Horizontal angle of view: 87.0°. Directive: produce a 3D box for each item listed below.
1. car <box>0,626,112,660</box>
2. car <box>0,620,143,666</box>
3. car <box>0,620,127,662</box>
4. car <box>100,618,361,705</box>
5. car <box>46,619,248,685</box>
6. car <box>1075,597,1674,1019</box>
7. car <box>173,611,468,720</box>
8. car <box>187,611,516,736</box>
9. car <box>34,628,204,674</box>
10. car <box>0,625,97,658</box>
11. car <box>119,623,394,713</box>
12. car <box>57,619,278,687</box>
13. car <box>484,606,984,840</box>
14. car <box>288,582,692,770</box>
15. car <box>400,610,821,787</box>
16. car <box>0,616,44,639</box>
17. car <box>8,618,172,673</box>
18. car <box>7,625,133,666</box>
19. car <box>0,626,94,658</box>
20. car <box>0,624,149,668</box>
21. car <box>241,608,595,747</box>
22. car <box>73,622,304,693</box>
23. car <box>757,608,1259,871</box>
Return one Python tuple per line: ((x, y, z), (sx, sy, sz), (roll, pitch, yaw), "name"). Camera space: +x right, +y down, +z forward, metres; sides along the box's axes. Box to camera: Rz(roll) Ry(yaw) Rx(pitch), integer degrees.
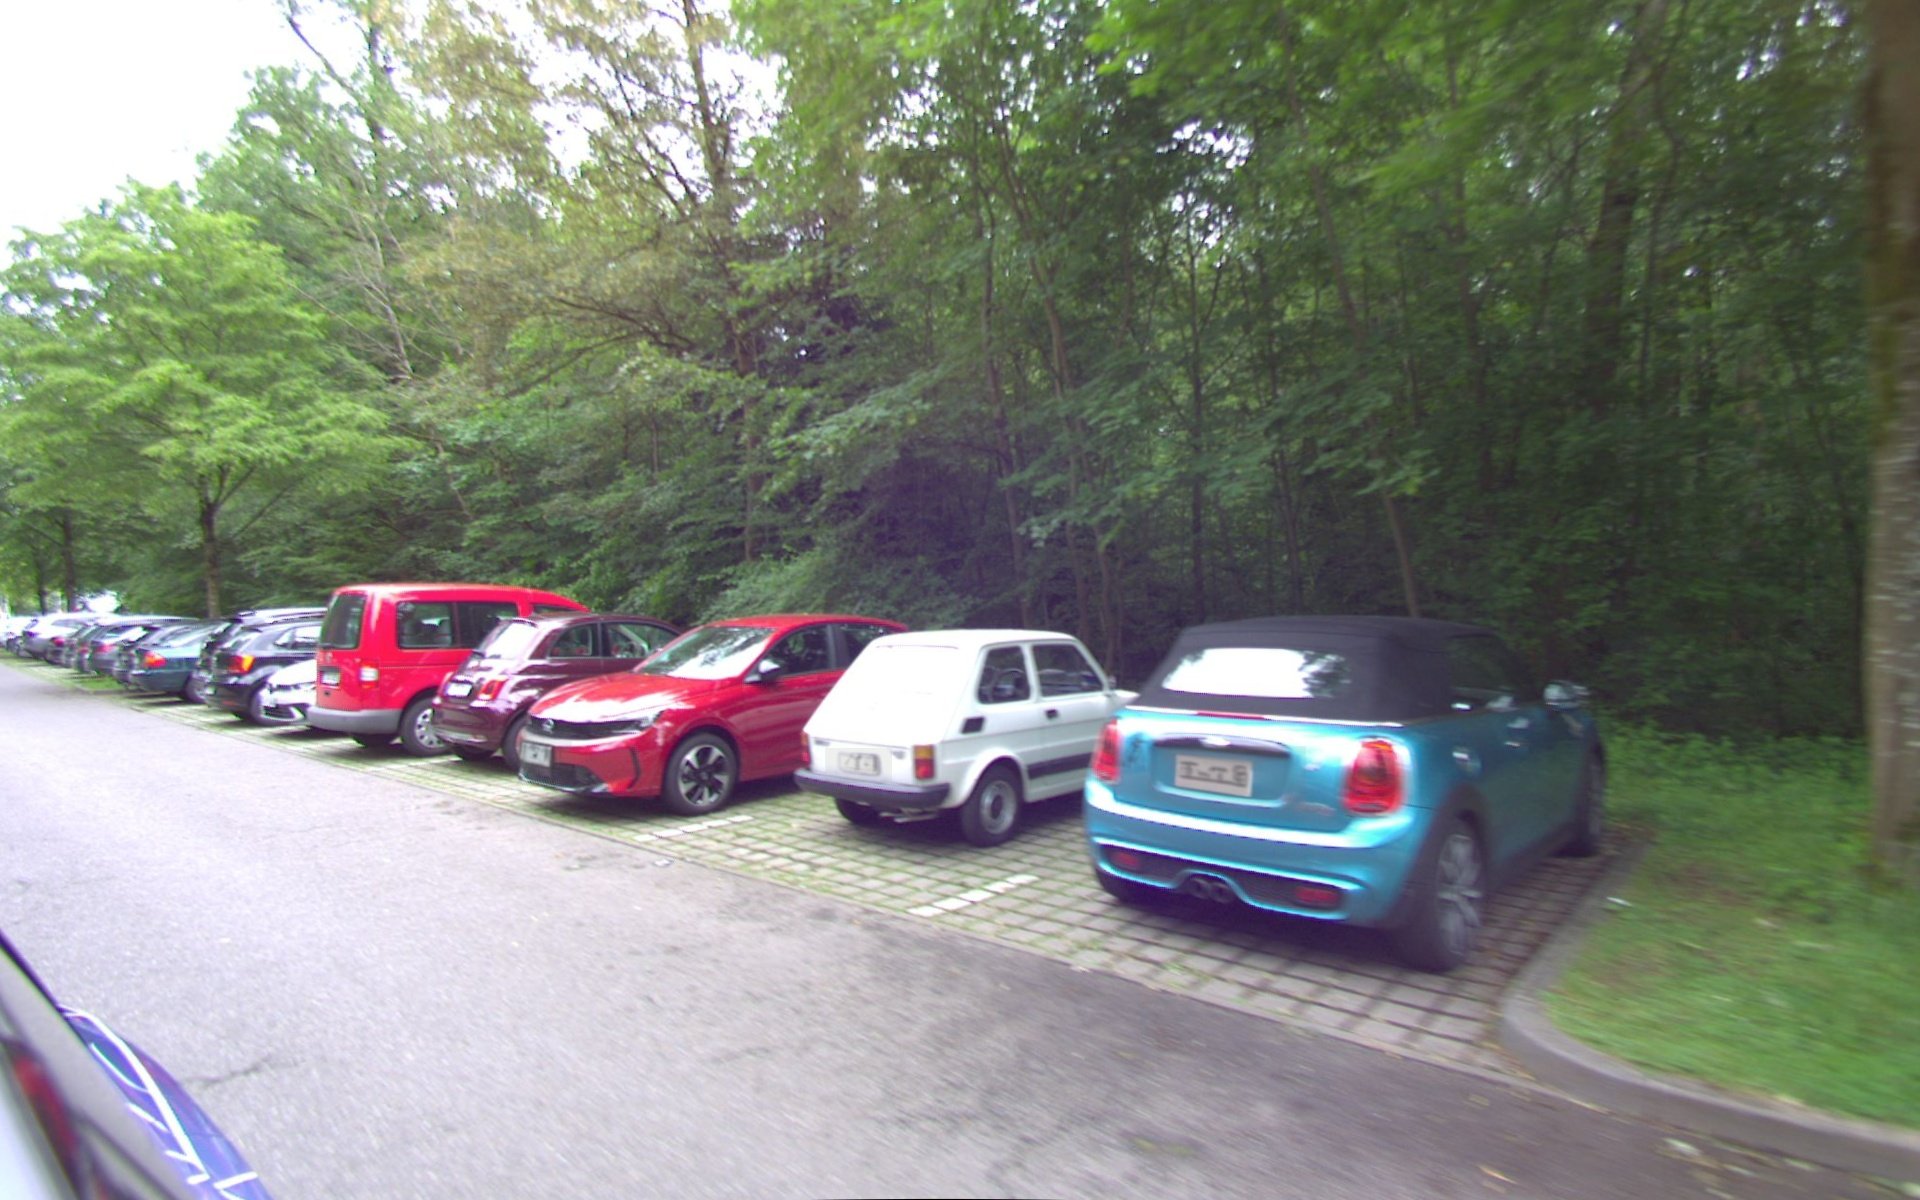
((-41.827, 1.941, 46.627), (1.711, 1.489, 3.948), (-1, -2, 38), "car")
((-34.658, 1.633, 39.551), (1.711, 1.722, 3.949), (-1, -2, 38), "car")
((-38.150, 1.702, 43.034), (1.711, 1.684, 3.949), (-1, -2, 38), "car")
((-14.597, 1.164, 20.416), (1.739, 1.453, 3.948), (-1, 0, 39), "car")
((-21.845, 1.348, 27.316), (1.710, 1.528, 3.951), (-1, 0, 36), "car")
((2.508, 0.756, 5.535), (1.696, 1.459, 3.942), (-2, -2, 44), "car")
((-10.800, 1.019, 17.304), (1.740, 1.609, 3.946), (-2, -1, 41), "car")
((-9.039, 0.995, 15.266), (1.742, 1.609, 3.943), (-2, -1, 43), "car")
((-27.072, 1.597, 32.697), (1.710, 1.381, 3.951), (-1, -2, 36), "car")
((-43.666, 1.964, 47.980), (1.711, 1.489, 3.948), (-1, -2, 38), "car")
((-12.941, 1.166, 18.767), (1.742, 1.432, 3.942), (-2, -1, 44), "car")
((-20.019, 1.279, 25.709), (1.817, 1.549, 4.167), (-2, -2, 41), "car")
((-1.739, 0.835, 8.744), (1.770, 1.527, 3.945), (-2, -1, 41), "car")
((-5.380, 0.762, 11.965), (1.817, 1.828, 3.946), (-2, -1, 41), "car")
((-3.610, 0.897, 10.975), (1.817, 1.527, 3.945), (-2, -1, 41), "car")
((-62.548, 1.819, 66.006), (3.932, 1.431, 1.787), (-1, 0, -32), "car")
((-29.260, 1.476, 34.127), (1.711, 1.740, 3.949), (-1, -2, 38), "car")
((-39.485, 1.988, 44.965), (1.711, 1.684, 3.949), (-1, -2, 38), "car")
((-45.003, 2.007, 49.368), (1.711, 1.489, 3.948), (-1, -2, 38), "car")
((-32.820, 1.660, 37.597), (1.711, 1.500, 3.949), (-1, -2, 38), "car")
((-7.275, 0.927, 13.848), (1.742, 1.609, 3.943), (-2, -1, 43), "car")
((-18.159, 1.289, 23.956), (1.819, 1.467, 4.163), (-2, -1, 45), "car")
((0.585, 0.806, 7.739), (1.770, 1.459, 3.945), (-2, -1, 41), "car")
